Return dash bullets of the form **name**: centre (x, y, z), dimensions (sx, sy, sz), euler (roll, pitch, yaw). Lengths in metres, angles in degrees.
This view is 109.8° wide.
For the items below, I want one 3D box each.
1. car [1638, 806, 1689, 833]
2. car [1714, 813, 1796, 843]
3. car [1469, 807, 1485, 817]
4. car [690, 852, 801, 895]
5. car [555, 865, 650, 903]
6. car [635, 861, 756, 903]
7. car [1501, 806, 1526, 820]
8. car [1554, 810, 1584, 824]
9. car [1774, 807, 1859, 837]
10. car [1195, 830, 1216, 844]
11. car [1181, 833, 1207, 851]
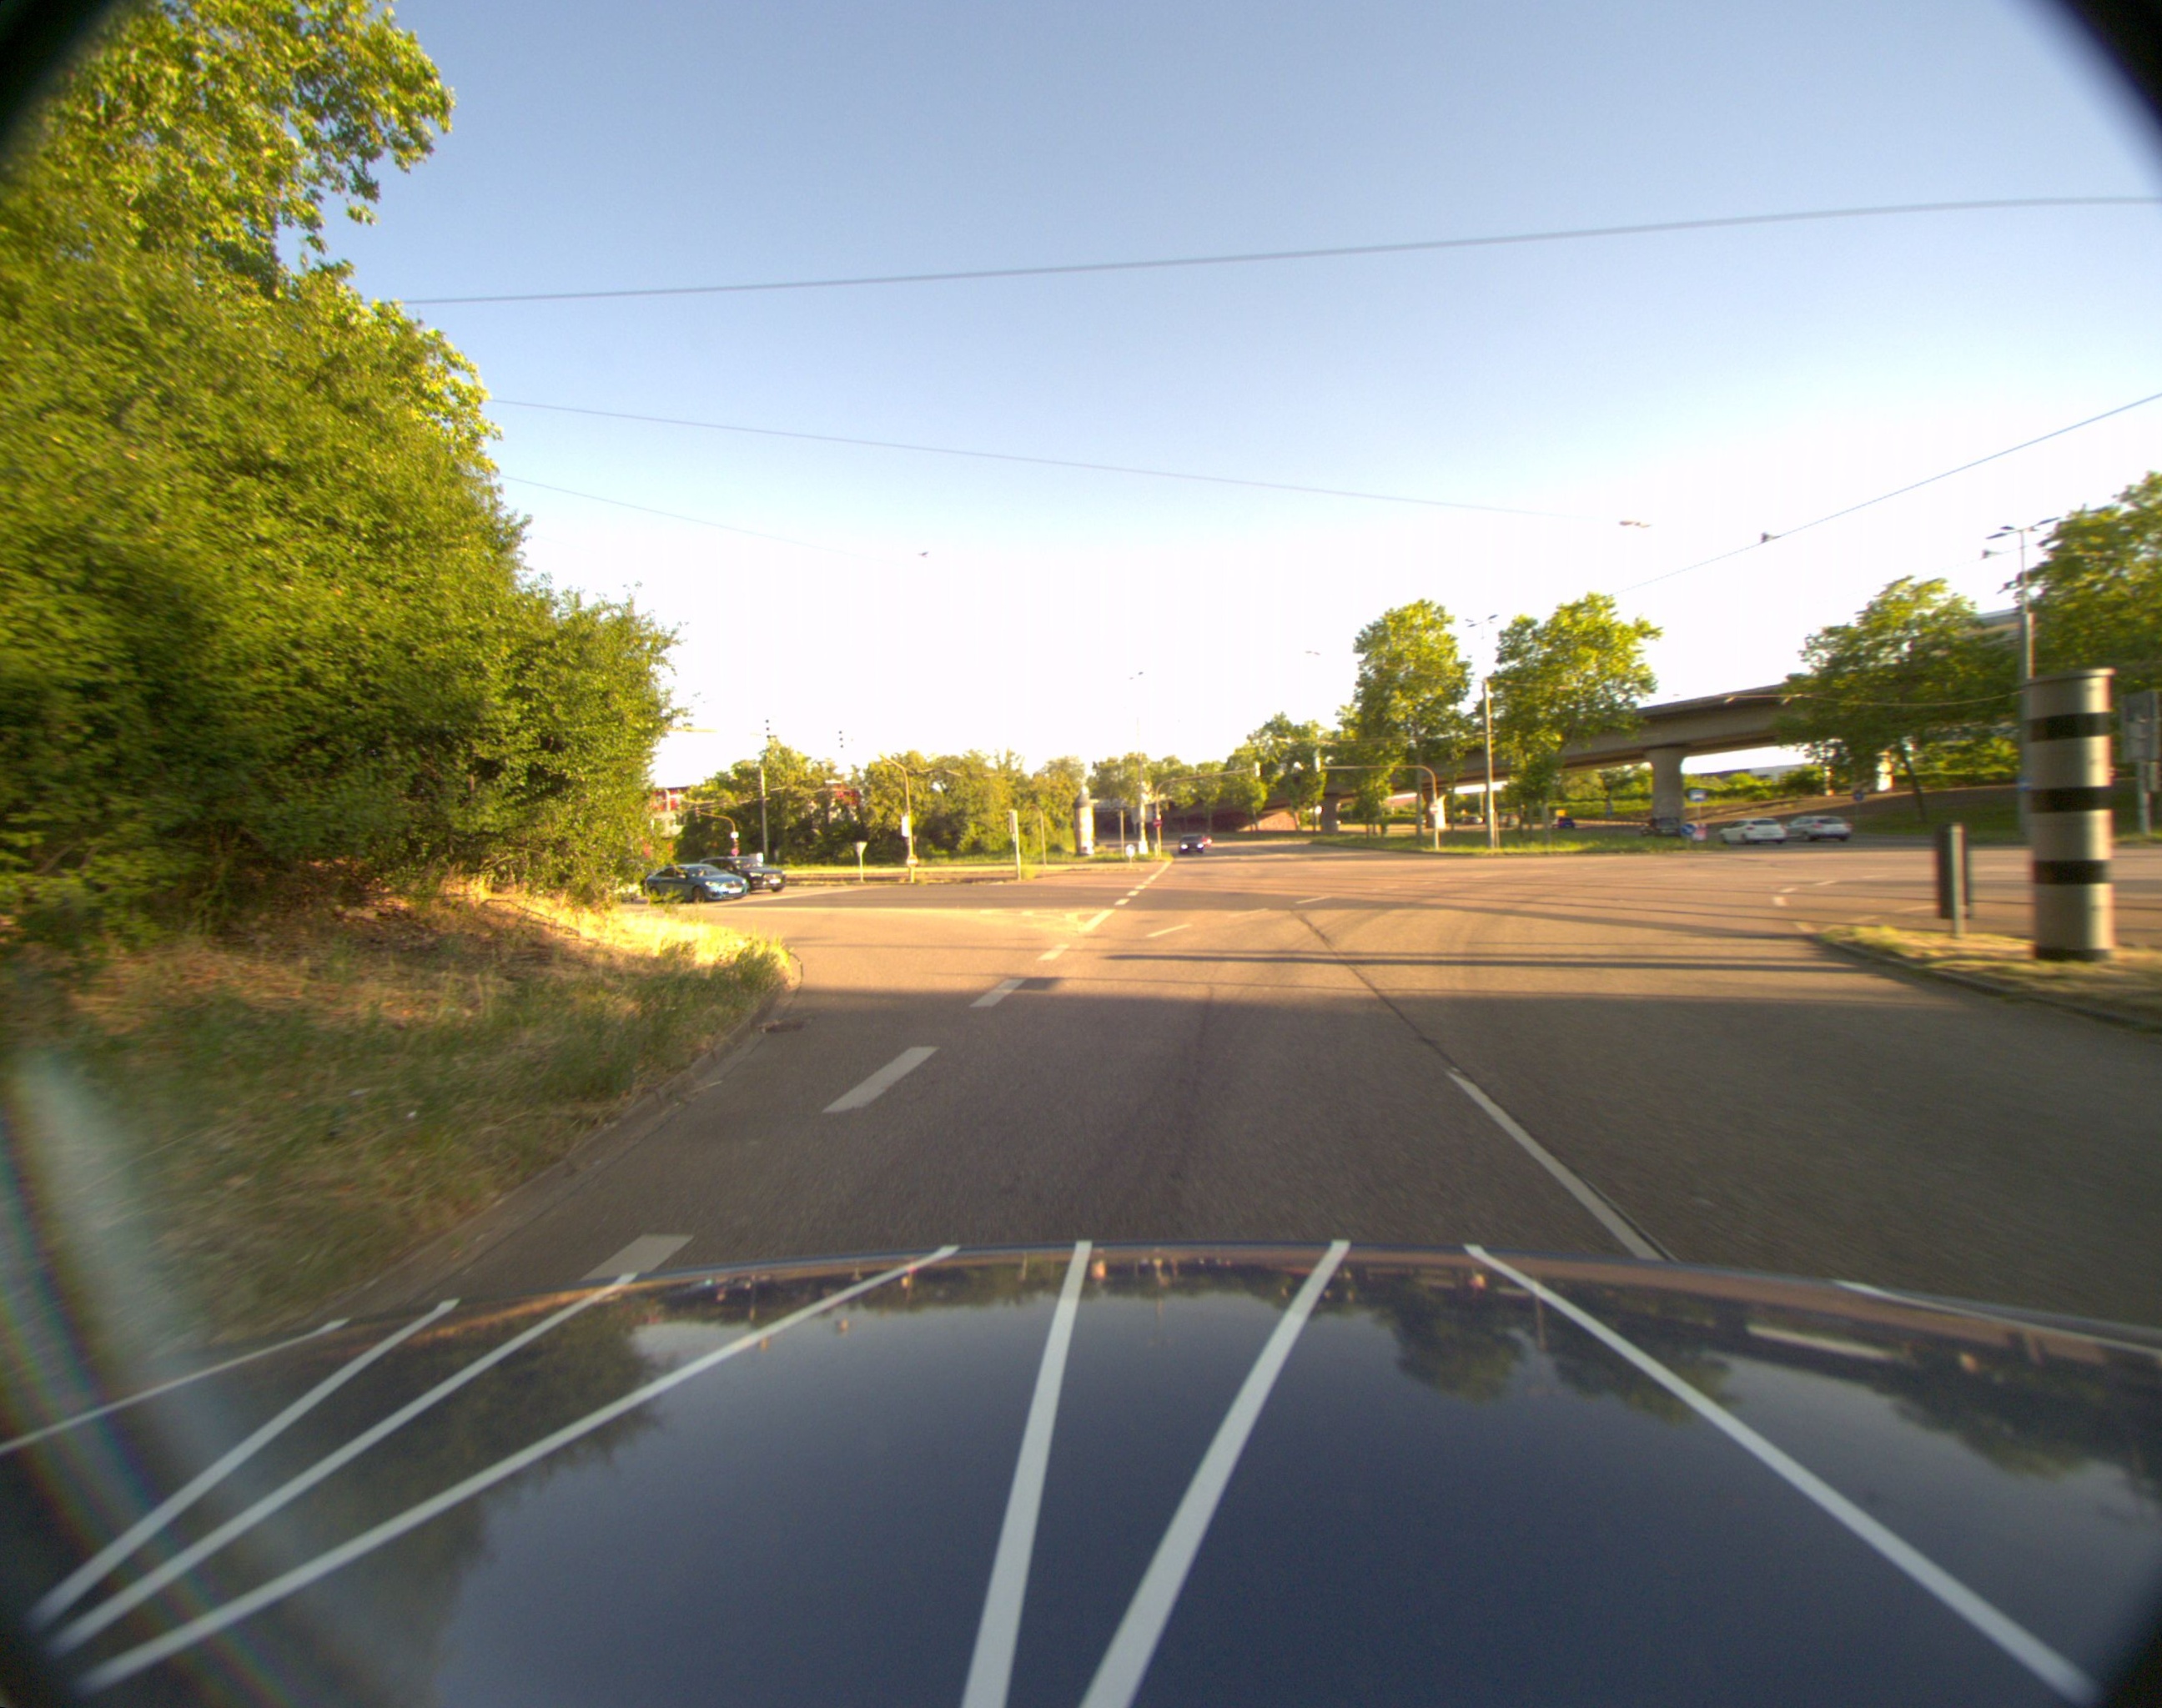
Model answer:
- **car**: centre (44.079, -2.591, 57.582), dimensions (1.853, 1.857, 4.151), euler (-2, 2, 20)
- **car**: centre (39.031, -1.517, 44.139), dimensions (1.853, 1.600, 4.312), euler (-2, 2, 16)
- **car**: centre (65.833, -6.967, 126.457), dimensions (1.693, 1.414, 3.737), euler (-2, 2, 18)
- **car**: centre (-14.433, 0.838, 32.606), dimensions (4.589, 1.672, 1.925), euler (-2, 2, 30)
- **car**: centre (-20.241, 1.266, 32.119), dimensions (3.914, 1.422, 1.669), euler (-2, 2, 30)
- **car**: centre (-14.717, 1.078, 28.981), dimensions (4.501, 1.409, 1.792), euler (-2, 2, 29)
- **car**: centre (62.398, -5.911, 109.742), dimensions (1.996, 1.895, 4.708), euler (-2, 2, 14)
- **car**: centre (57.061, -4.329, 88.835), dimensions (1.996, 1.550, 3.939), euler (-2, 2, 18)
- **car**: centre (42.948, -1.858, 44.488), dimensions (1.853, 1.600, 4.375), euler (-2, 2, 18)
- **car**: centre (14.365, -1.993, 87.752), dimensions (1.996, 1.477, 4.004), euler (-3, 1, 14)
- **car**: centre (10.140, -1.081, 68.520), dimensions (1.998, 1.477, 4.001), euler (-3, 1, 4)
